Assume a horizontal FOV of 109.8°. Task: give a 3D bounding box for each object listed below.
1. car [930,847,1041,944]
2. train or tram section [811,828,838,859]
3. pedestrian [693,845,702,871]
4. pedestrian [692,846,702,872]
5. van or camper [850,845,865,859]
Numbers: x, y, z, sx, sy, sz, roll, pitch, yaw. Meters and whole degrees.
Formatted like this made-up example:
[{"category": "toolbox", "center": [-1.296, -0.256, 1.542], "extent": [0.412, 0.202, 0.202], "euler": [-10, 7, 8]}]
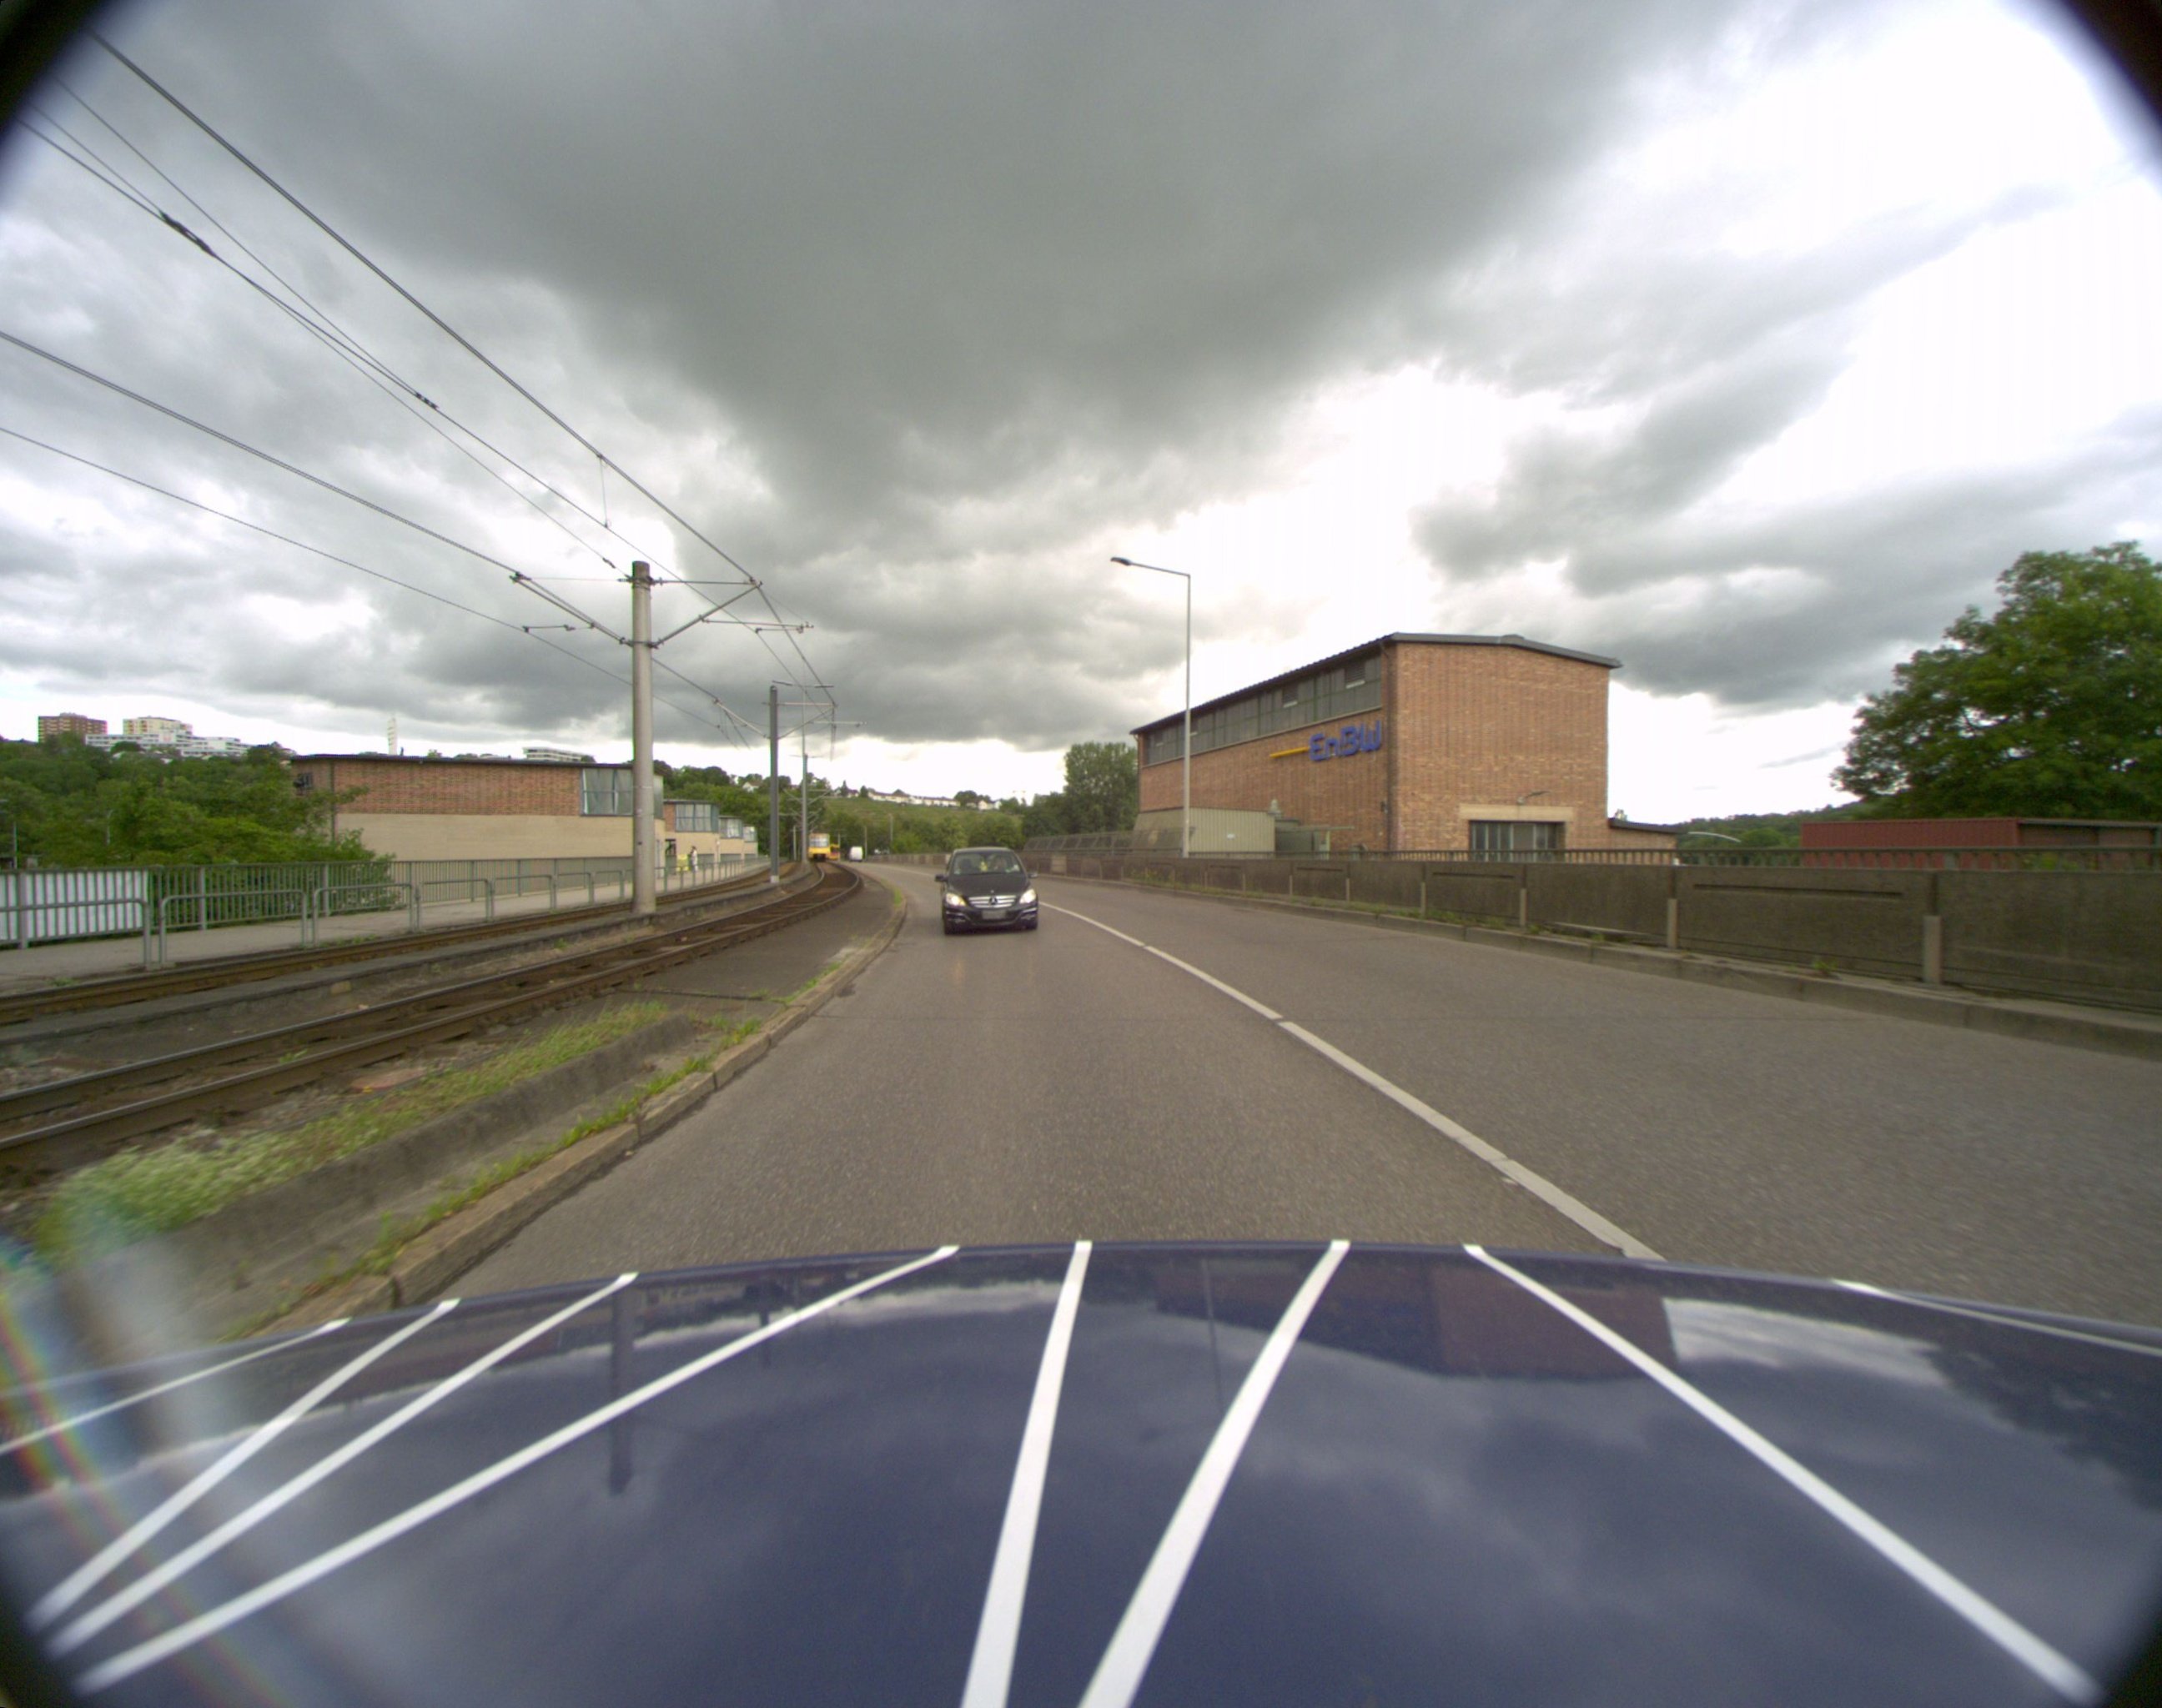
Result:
[{"category": "car", "center": [-1.895, 0.708, 15.386], "extent": [1.861, 1.612, 3.997], "euler": [-3, 1, -7]}, {"category": "train or tram section", "center": [-33.687, -1.393, 99.919], "extent": [3.035, 3.896, 9.427], "euler": [-1, 1, -17]}, {"category": "pedestrian", "center": [-24.870, 0.277, 49.285], "extent": [0.512, 1.655, 0.351], "euler": [-1, 1, -24]}, {"category": "pedestrian", "center": [-24.719, 0.306, 48.920], "extent": [0.512, 1.655, 0.351], "euler": [-1, 1, -24]}, {"category": "van or camper", "center": [-39.194, -0.367, 133.321], "extent": [2.159, 2.461, 4.702], "euler": [-2, 1, -20]}]
